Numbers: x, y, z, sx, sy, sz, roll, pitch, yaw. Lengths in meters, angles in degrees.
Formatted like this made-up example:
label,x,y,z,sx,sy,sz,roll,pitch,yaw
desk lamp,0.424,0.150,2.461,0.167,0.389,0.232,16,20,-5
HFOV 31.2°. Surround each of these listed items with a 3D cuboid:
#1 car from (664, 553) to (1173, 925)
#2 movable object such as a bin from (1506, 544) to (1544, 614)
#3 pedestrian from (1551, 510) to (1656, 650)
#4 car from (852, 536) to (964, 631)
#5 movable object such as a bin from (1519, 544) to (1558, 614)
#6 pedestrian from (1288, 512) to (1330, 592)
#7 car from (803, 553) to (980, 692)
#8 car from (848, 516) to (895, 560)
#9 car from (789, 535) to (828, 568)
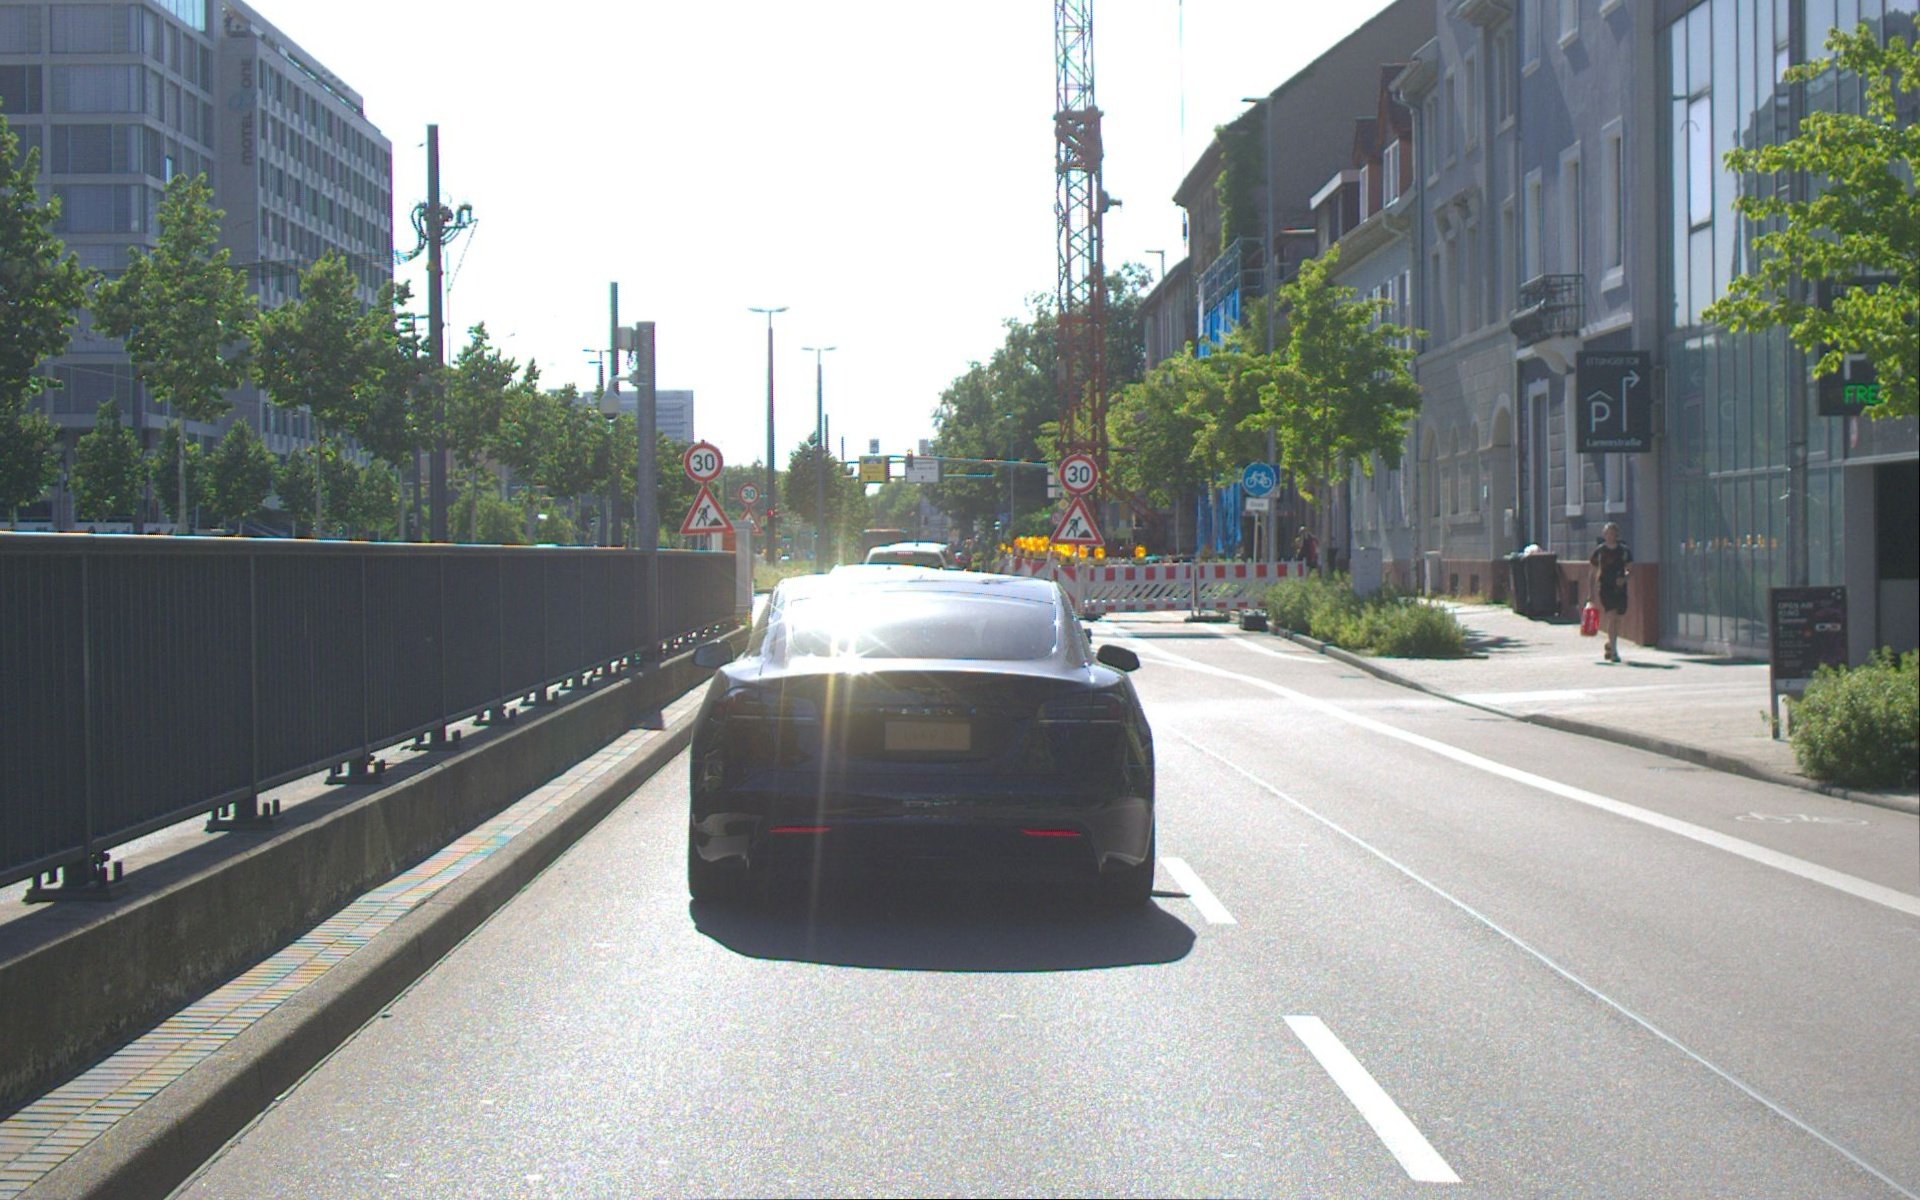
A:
label,x,y,z,sx,sy,sz,roll,pitch,yaw
car,-0.140,0.519,15.807,1.999,1.429,4.413,1,1,1
movable object such as a bin,9.652,-0.360,58.735,0.559,1.165,0.562,1,0,4
pedestrian,8.699,-0.277,46.536,1.095,1.857,1.523,-1,1,-1
car,-0.850,-0.309,58.441,1.784,1.540,4.039,0,1,1
movable object such as a bin,9.740,-0.349,57.886,0.559,1.165,0.562,1,0,4
pedestrian,8.241,-1.130,81.224,0.851,1.857,0.930,-1,1,-1
car,-0.658,0.193,35.521,1.716,1.315,4.000,0,1,1
car,-3.725,-2.635,145.618,1.814,1.803,4.039,0,1,1
car,-8.006,-2.565,181.981,1.993,1.678,4.000,1,1,-1
